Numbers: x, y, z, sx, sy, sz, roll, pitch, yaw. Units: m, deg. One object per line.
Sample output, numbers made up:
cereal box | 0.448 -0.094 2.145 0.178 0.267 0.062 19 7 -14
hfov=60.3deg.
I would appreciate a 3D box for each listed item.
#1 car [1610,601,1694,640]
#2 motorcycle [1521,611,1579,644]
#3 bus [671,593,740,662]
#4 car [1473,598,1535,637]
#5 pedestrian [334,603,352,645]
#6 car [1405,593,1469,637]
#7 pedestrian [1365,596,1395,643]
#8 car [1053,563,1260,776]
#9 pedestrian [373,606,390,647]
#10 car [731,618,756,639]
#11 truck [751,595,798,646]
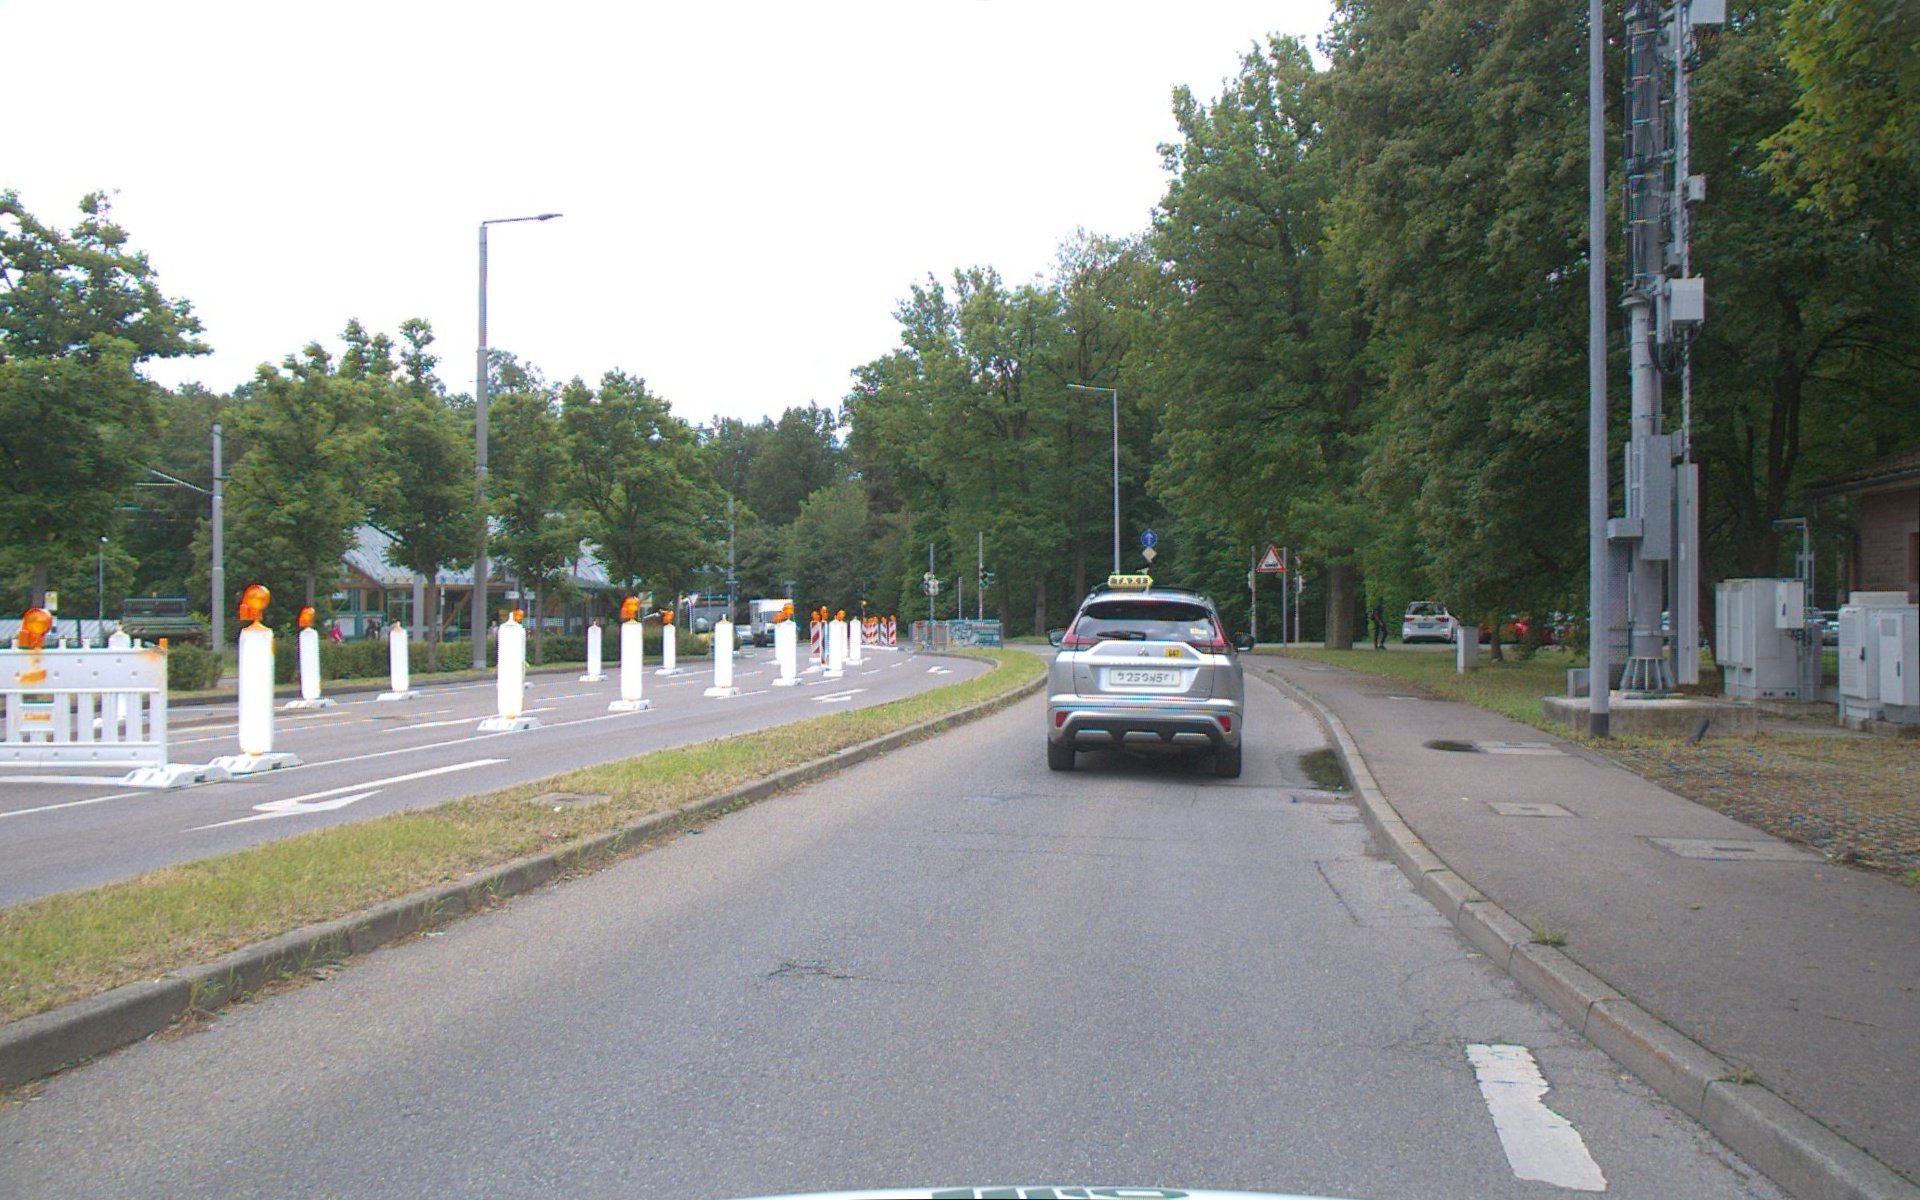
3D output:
car | 24.737 0.717 59.234 1.523 1.349 4.002 0 0 3
motorcycle | 19.617 0.923 54.997 1.789 1.075 0.615 0 0 18
bus | -14.841 1.492 95.595 2.774 3.666 12.755 0 0 -14
car | 19.885 0.625 60.403 1.797 1.349 3.999 0 0 23
pedestrian | -24.733 0.960 66.314 0.552 1.654 0.489 0 0 43
car | 17.709 0.549 61.363 1.797 1.563 3.999 0 0 23
pedestrian | 13.878 0.643 54.635 0.823 1.532 0.790 0 0 23
car | 1.852 0.624 15.944 1.736 1.779 3.782 1 -1 6
pedestrian | -23.846 1.093 68.185 0.552 1.654 0.489 0 0 43
car | -16.576 2.182 126.368 1.529 1.555 3.813 0 0 -13
truck | -12.834 1.367 113.856 2.440 3.344 8.495 -1 0 -11
